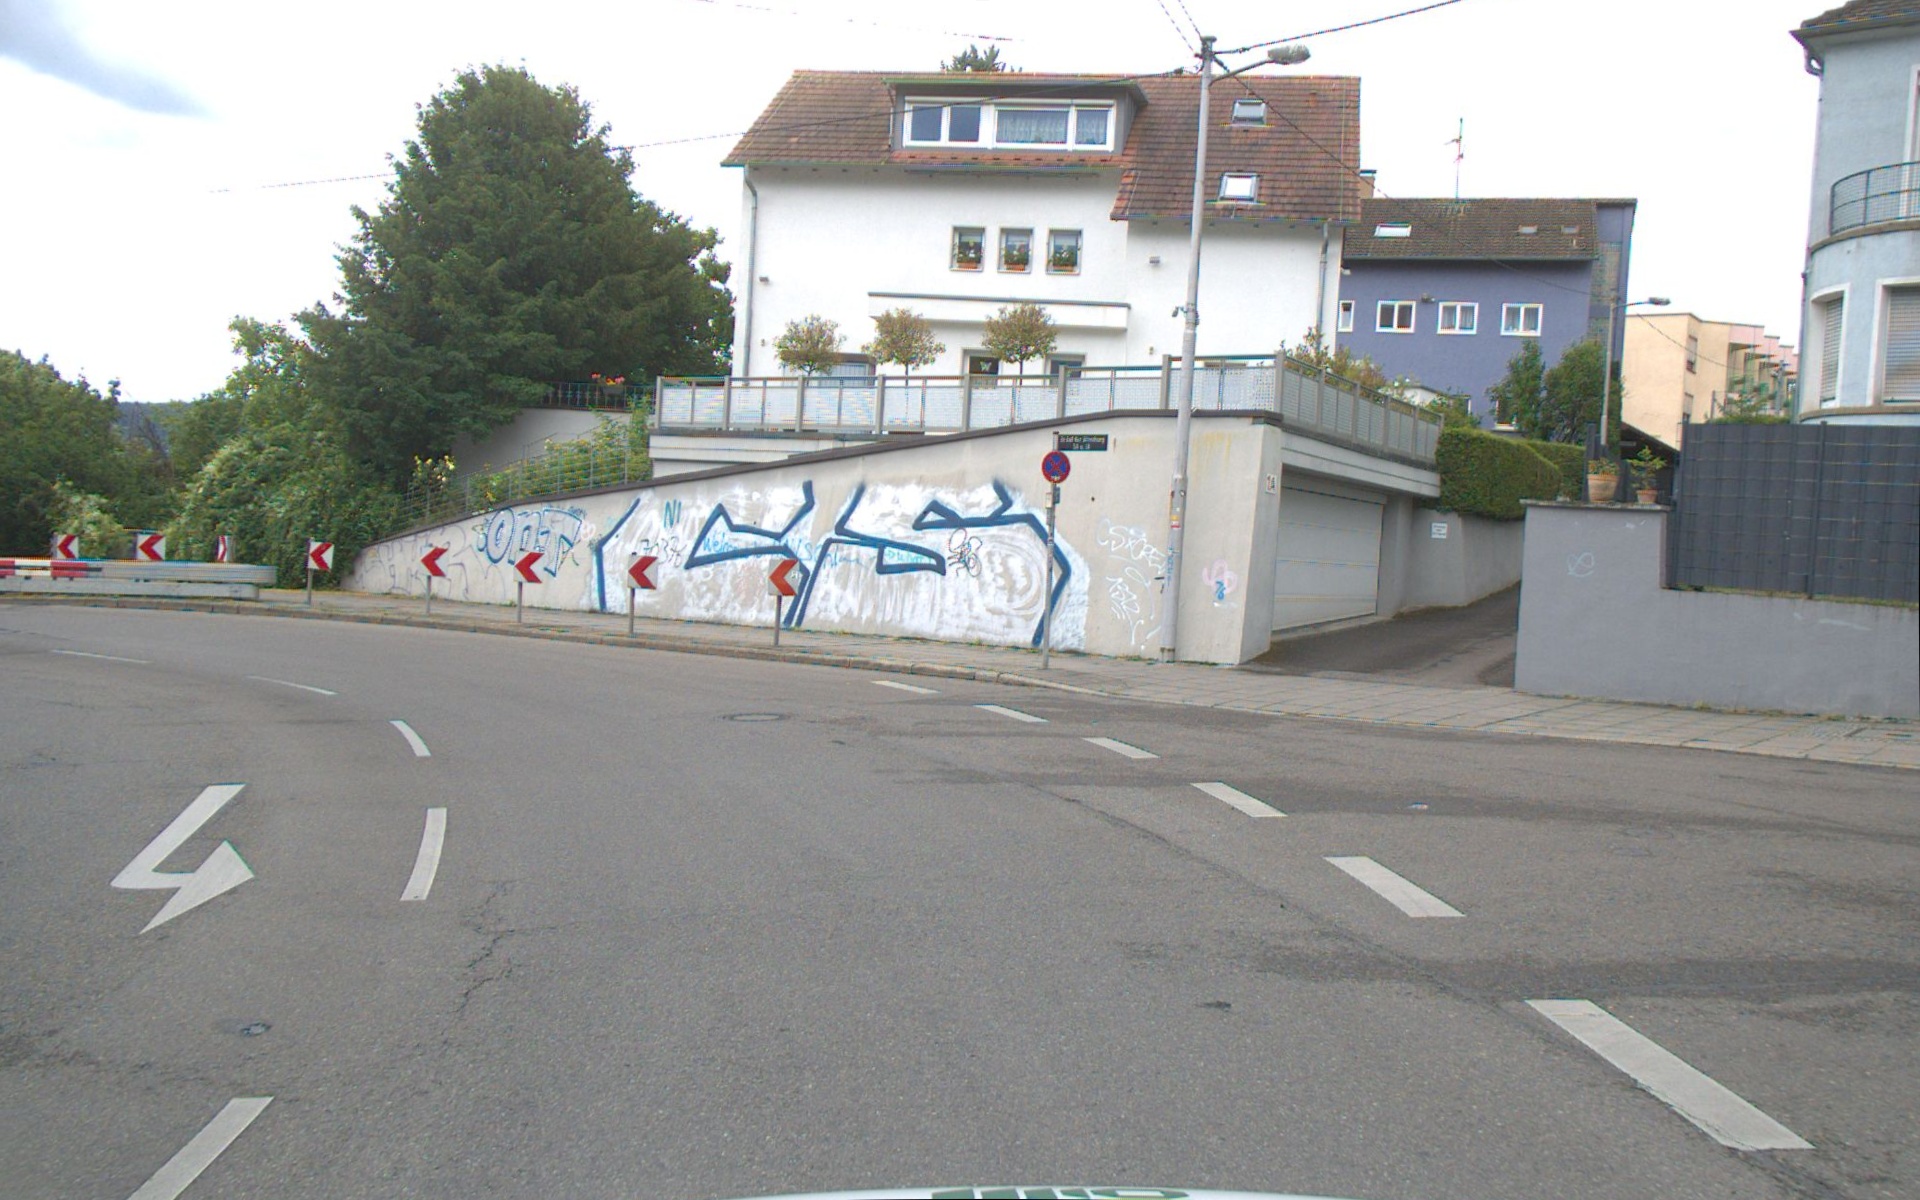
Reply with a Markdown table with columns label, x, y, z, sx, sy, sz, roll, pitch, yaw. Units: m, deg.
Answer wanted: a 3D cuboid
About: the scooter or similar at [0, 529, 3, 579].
| label | x | y | z | sx | sy | sz | roll | pitch | yaw |
| --- | --- | --- | --- | --- | --- | --- | --- | --- | --- |
| scooter or similar | -24.751 | -1.165 | 42.116 | 0.429 | 1.272 | 1.491 | 1 | 2 | -22 |
